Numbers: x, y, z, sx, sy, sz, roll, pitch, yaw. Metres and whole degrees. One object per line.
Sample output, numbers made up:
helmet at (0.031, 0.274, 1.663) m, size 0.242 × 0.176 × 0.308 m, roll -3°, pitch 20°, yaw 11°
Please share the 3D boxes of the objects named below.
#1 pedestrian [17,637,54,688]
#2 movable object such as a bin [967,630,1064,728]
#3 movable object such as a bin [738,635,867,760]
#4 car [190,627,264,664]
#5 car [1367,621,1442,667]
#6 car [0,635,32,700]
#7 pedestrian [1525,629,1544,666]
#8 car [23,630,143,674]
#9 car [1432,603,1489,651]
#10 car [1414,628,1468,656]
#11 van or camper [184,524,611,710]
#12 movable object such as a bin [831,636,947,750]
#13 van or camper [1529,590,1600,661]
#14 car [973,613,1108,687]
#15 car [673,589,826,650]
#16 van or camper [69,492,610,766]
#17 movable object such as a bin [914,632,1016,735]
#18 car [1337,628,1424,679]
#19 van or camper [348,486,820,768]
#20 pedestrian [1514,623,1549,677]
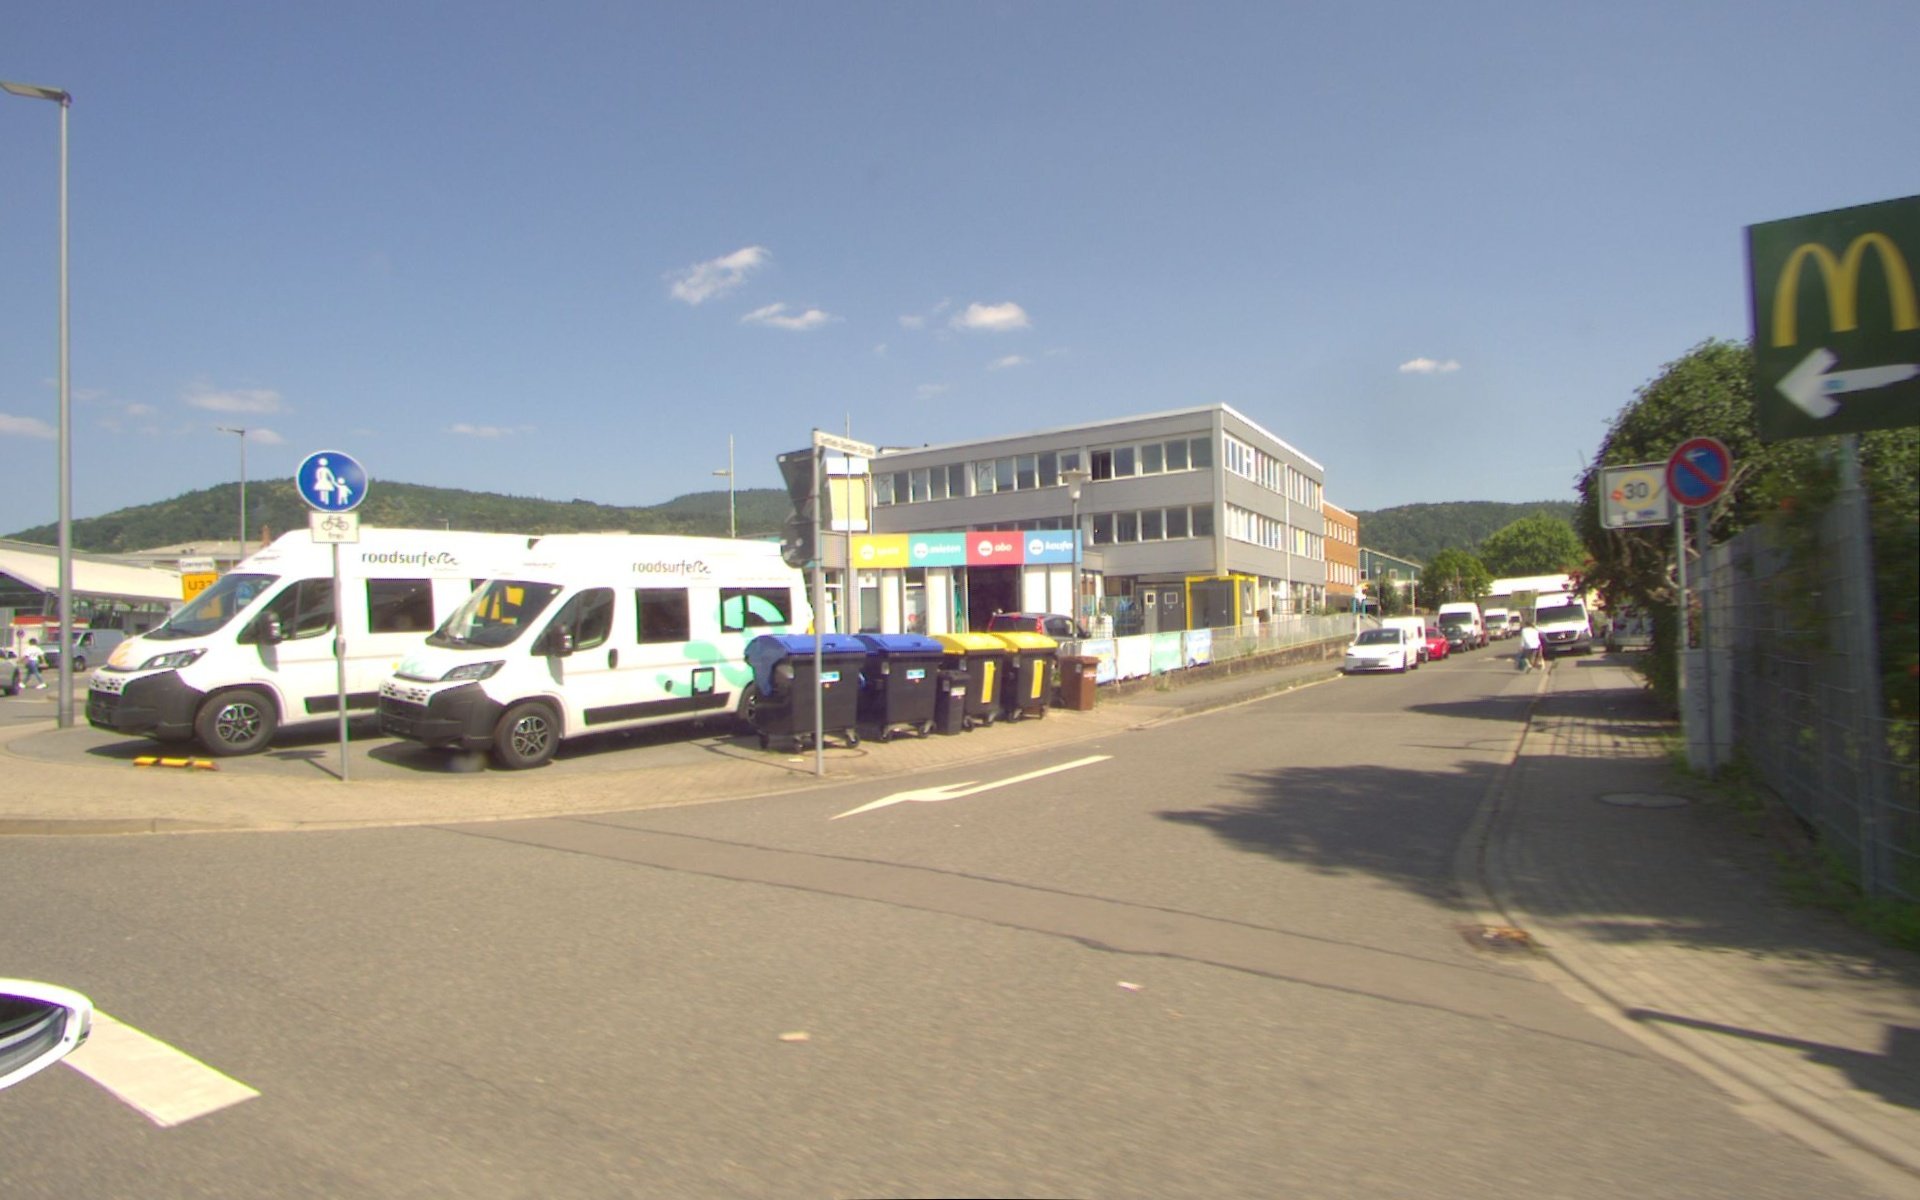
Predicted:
pedestrian at (-30.866, 2.083, 33.432) m, size 0.943 × 1.657 × 0.875 m, roll -2°, pitch -2°, yaw 44°
movable object such as a bin at (0.942, 1.290, 16.964) m, size 1.051 × 1.552 × 1.325 m, roll 1°, pitch 0°, yaw 39°
movable object such as a bin at (-2.021, 1.201, 12.889) m, size 1.067 × 1.476 × 1.246 m, roll 1°, pitch 0°, yaw 43°
car at (-44.407, 2.728, 60.807) m, size 1.992 × 2.141 × 4.927 m, roll 1°, pitch -1°, yaw -16°
car at (17.986, 1.759, 40.390) m, size 1.974 × 1.761 × 4.273 m, roll -1°, pitch -2°, yaw 35°
car at (-27.612, 1.855, 27.817) m, size 1.974 × 1.755 × 4.536 m, roll 0°, pitch -2°, yaw -34°
pedestrian at (26.382, 2.177, 45.986) m, size 0.699 × 1.709 × 0.650 m, roll -1°, pitch -1°, yaw 32°
car at (-40.952, 2.399, 46.936) m, size 1.897 × 1.960 × 4.829 m, roll 0°, pitch -2°, yaw -9°
car at (28.473, 1.558, 56.829) m, size 2.083 × 2.558 × 5.573 m, roll -1°, pitch -2°, yaw 35°
car at (24.879, 2.163, 51.765) m, size 1.869 × 1.400 × 3.976 m, roll -2°, pitch -2°, yaw 35°
van or camper at (-10.542, 0.304, 19.679) m, size 2.301 × 2.984 × 7.048 m, roll -2°, pitch -1°, yaw 31°
movable object such as a bin at (-0.987, 1.266, 14.067) m, size 1.008 × 1.476 × 1.279 m, roll 1°, pitch 0°, yaw 42°
van or camper at (25.201, 1.097, 41.723) m, size 2.313 × 2.713 × 6.710 m, roll -1°, pitch -2°, yaw 32°
car at (1.994, 1.129, 23.797) m, size 1.788 × 1.535 × 3.881 m, roll 2°, pitch 0°, yaw 28°
car at (-7.546, 0.765, 36.394) m, size 2.110 × 2.039 × 5.435 m, roll -1°, pitch -2°, yaw 37°
van or camper at (-7.736, 0.348, 13.284) m, size 2.062 × 2.810 × 5.797 m, roll 0°, pitch -1°, yaw 34°
movable object such as a bin at (0.085, 1.254, 15.529) m, size 1.007 × 1.495 × 1.231 m, roll 1°, pitch 0°, yaw 39°
car at (13.984, 1.725, 33.175) m, size 1.869 × 1.571 × 3.976 m, roll -2°, pitch -2°, yaw 35°
van or camper at (-4.471, 0.355, 12.944) m, size 2.020 × 2.851 × 5.492 m, roll 1°, pitch -1°, yaw 35°
pedestrian at (17.059, 1.481, 29.903) m, size 0.871 × 1.599 × 0.786 m, roll -1°, pitch -2°, yaw 32°
